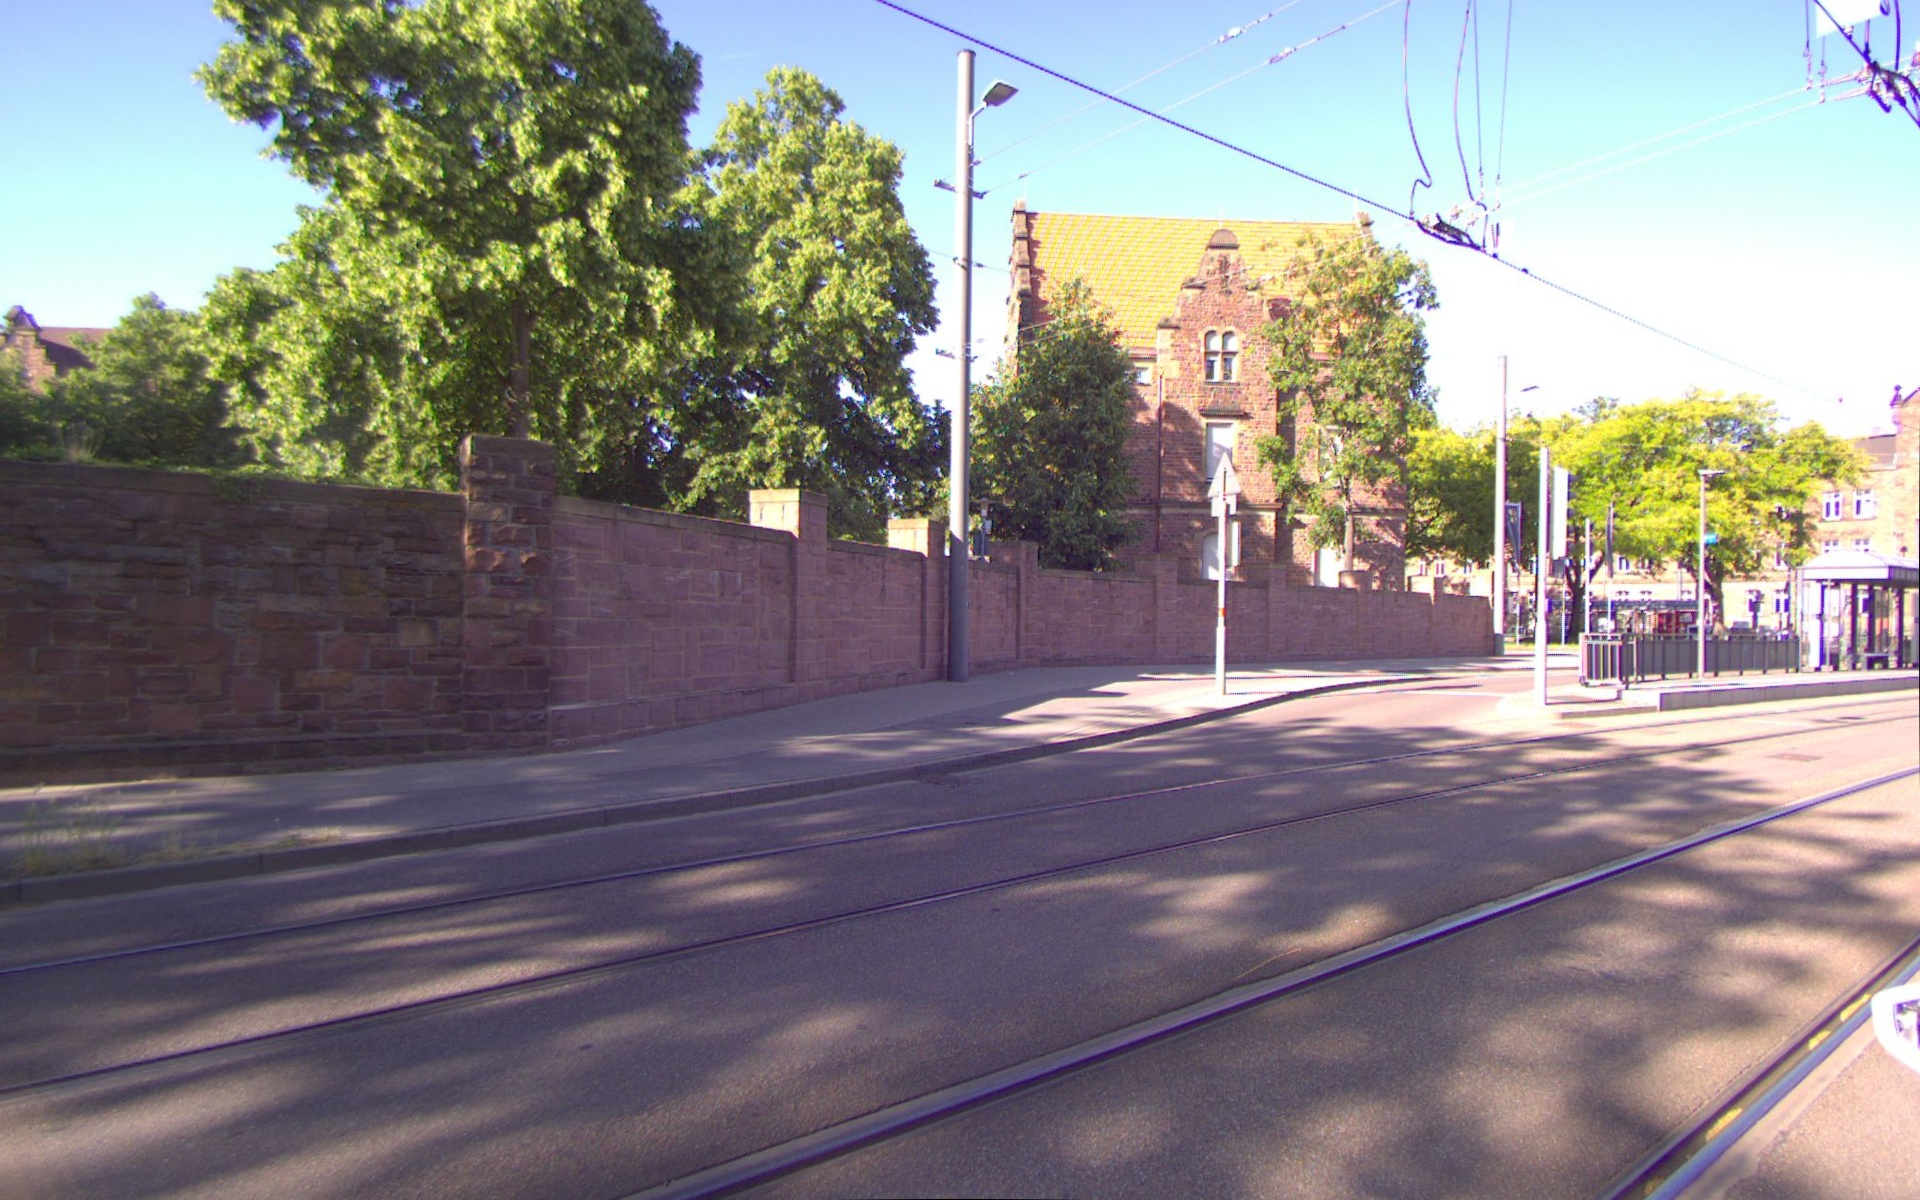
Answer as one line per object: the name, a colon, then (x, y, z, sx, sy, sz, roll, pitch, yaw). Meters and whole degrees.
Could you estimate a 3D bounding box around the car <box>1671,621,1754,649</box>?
car: (49.169, 2.246, 65.683, 1.798, 1.651, 3.964, 2, 0, -32)

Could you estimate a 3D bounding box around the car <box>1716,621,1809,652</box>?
car: (47.745, 2.163, 59.799, 1.798, 1.651, 3.964, 2, 0, -32)

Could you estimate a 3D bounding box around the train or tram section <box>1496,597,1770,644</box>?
train or tram section: (50.018, 1.464, 75.888, 3.312, 3.196, 17.280, 2, -1, -33)
